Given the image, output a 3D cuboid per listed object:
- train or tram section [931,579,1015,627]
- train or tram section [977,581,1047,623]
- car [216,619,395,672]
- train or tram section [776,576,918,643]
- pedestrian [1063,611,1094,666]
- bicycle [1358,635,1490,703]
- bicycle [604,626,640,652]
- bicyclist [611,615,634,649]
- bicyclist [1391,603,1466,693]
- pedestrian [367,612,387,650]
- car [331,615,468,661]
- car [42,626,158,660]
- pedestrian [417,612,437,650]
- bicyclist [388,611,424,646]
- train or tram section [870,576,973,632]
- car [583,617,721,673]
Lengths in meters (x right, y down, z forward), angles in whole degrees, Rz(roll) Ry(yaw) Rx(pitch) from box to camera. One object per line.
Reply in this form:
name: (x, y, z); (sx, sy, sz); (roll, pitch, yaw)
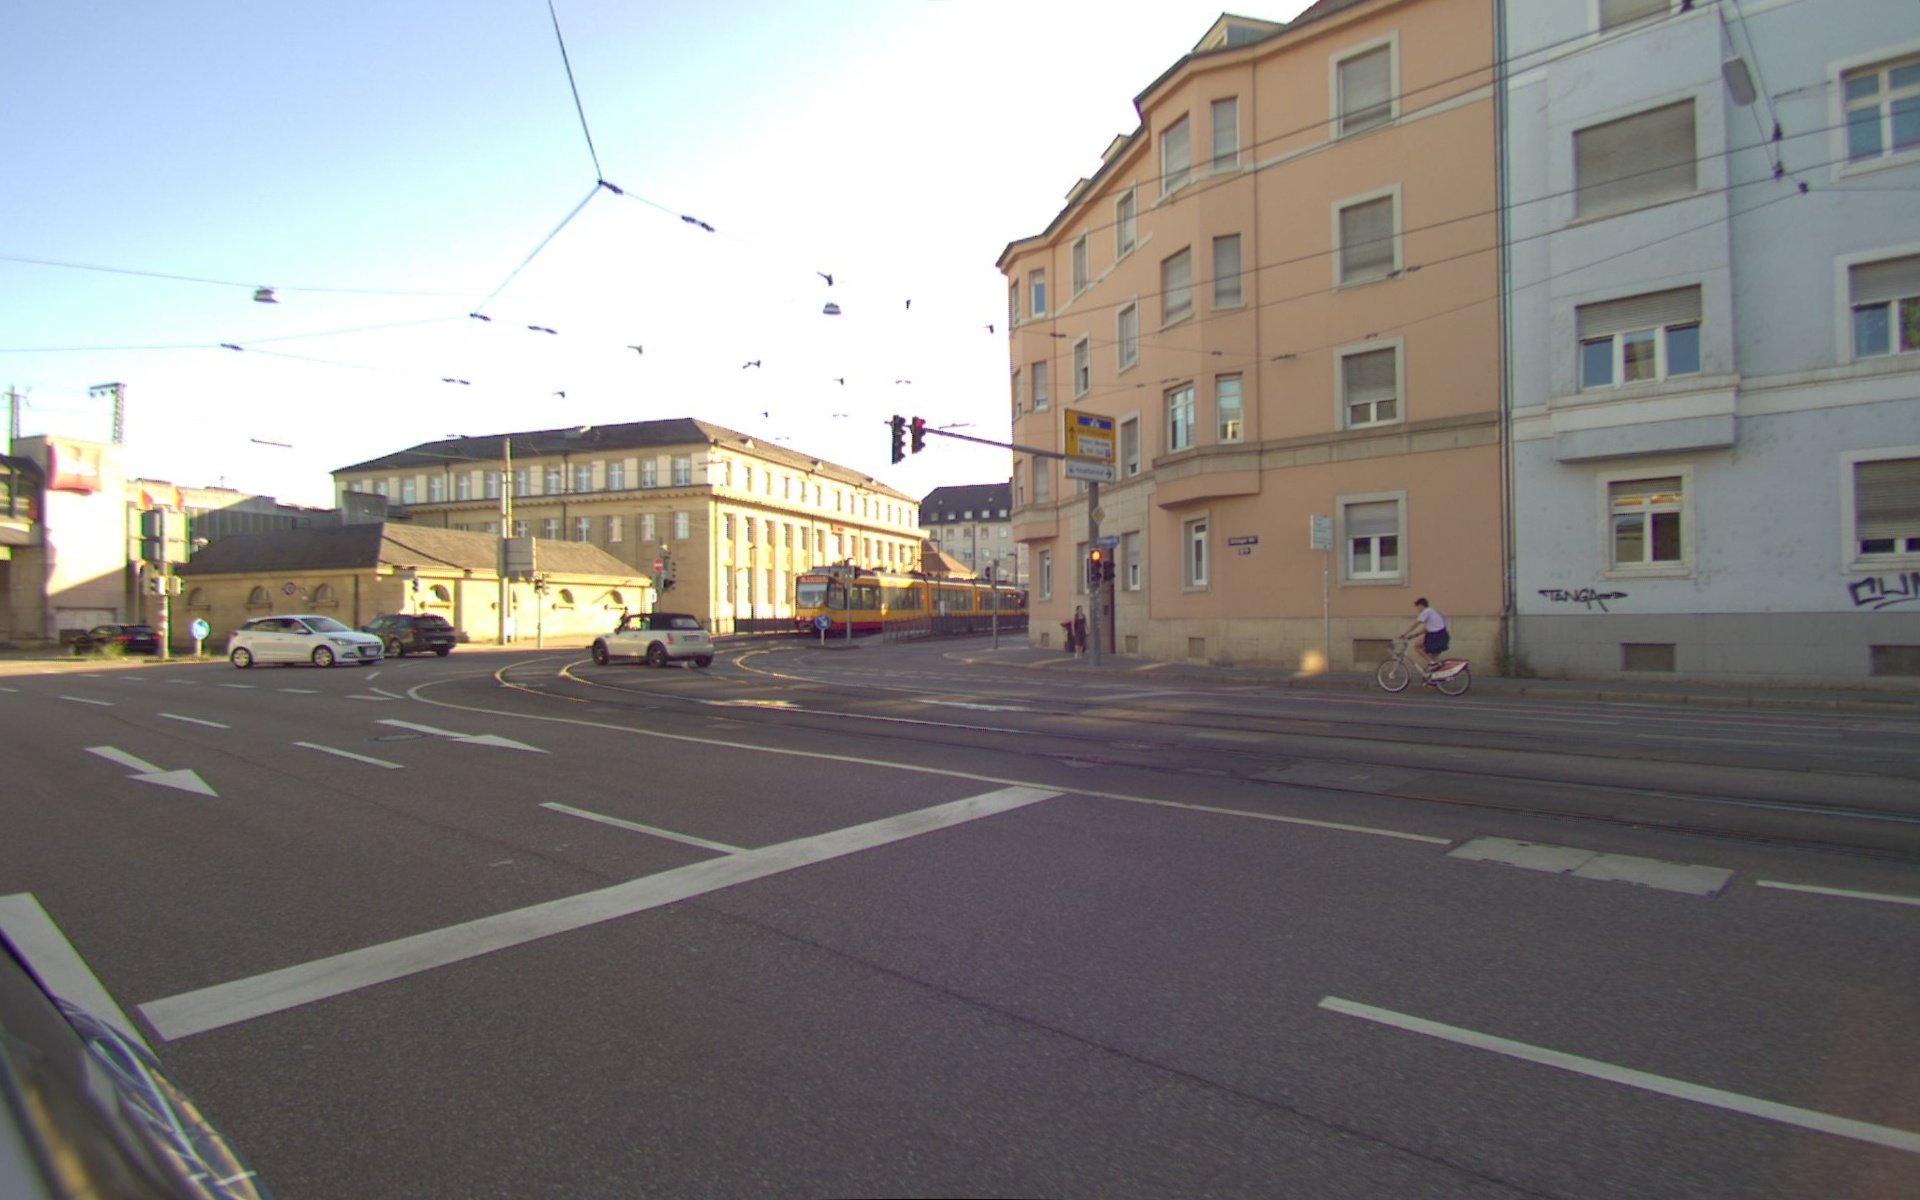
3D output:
train or tram section: (1.152, 0.187, 77.145); (3.141, 3.382, 10.781); (-1, 0, 19)
train or tram section: (4.655, 0.128, 87.381); (3.141, 3.382, 10.781); (-1, 0, 19)
car: (-18.167, 1.254, 28.163); (4.059, 1.404, 1.787); (-1, -1, 9)
train or tram section: (-5.947, 0.547, 56.584); (3.143, 3.346, 11.742); (-1, -1, 19)
pedestrian: (3.493, 1.121, 29.772); (0.666, 1.575, 0.722); (0, -1, -15)
bicycle: (8.804, 1.275, 19.273); (2.151, 1.200, 0.738); (-1, -1, 42)
bicycle: (-16.712, 1.921, 50.114); (0.679, 1.145, 2.065); (-1, 0, 14)
bicyclist: (-16.708, 1.580, 50.159); (0.671, 1.652, 0.935); (-1, 0, 14)
bicyclist: (8.885, 0.893, 19.207); (1.125, 1.655, 0.738); (-1, -1, 41)
pedestrian: (-25.485, 1.359, 44.228); (0.616, 1.652, 0.515); (0, -1, -7)
car: (-18.802, 1.260, 33.925); (4.476, 1.466, 1.910); (-1, -1, 28)
car: (-37.398, 1.839, 44.019); (4.530, 1.403, 1.985); (-1, -1, 22)
pedestrian: (-23.137, 1.331, 43.919); (0.616, 1.652, 0.490); (0, -1, -7)
bicyclist: (-22.380, 1.152, 40.856); (1.147, 1.393, 0.924); (-2, -1, 40)
train or tram section: (-2.316, 0.246, 67.076); (3.141, 3.382, 10.613); (-1, 0, 19)
car: (-8.172, 1.153, 26.767); (3.526, 1.385, 1.711); (-1, -2, 35)
